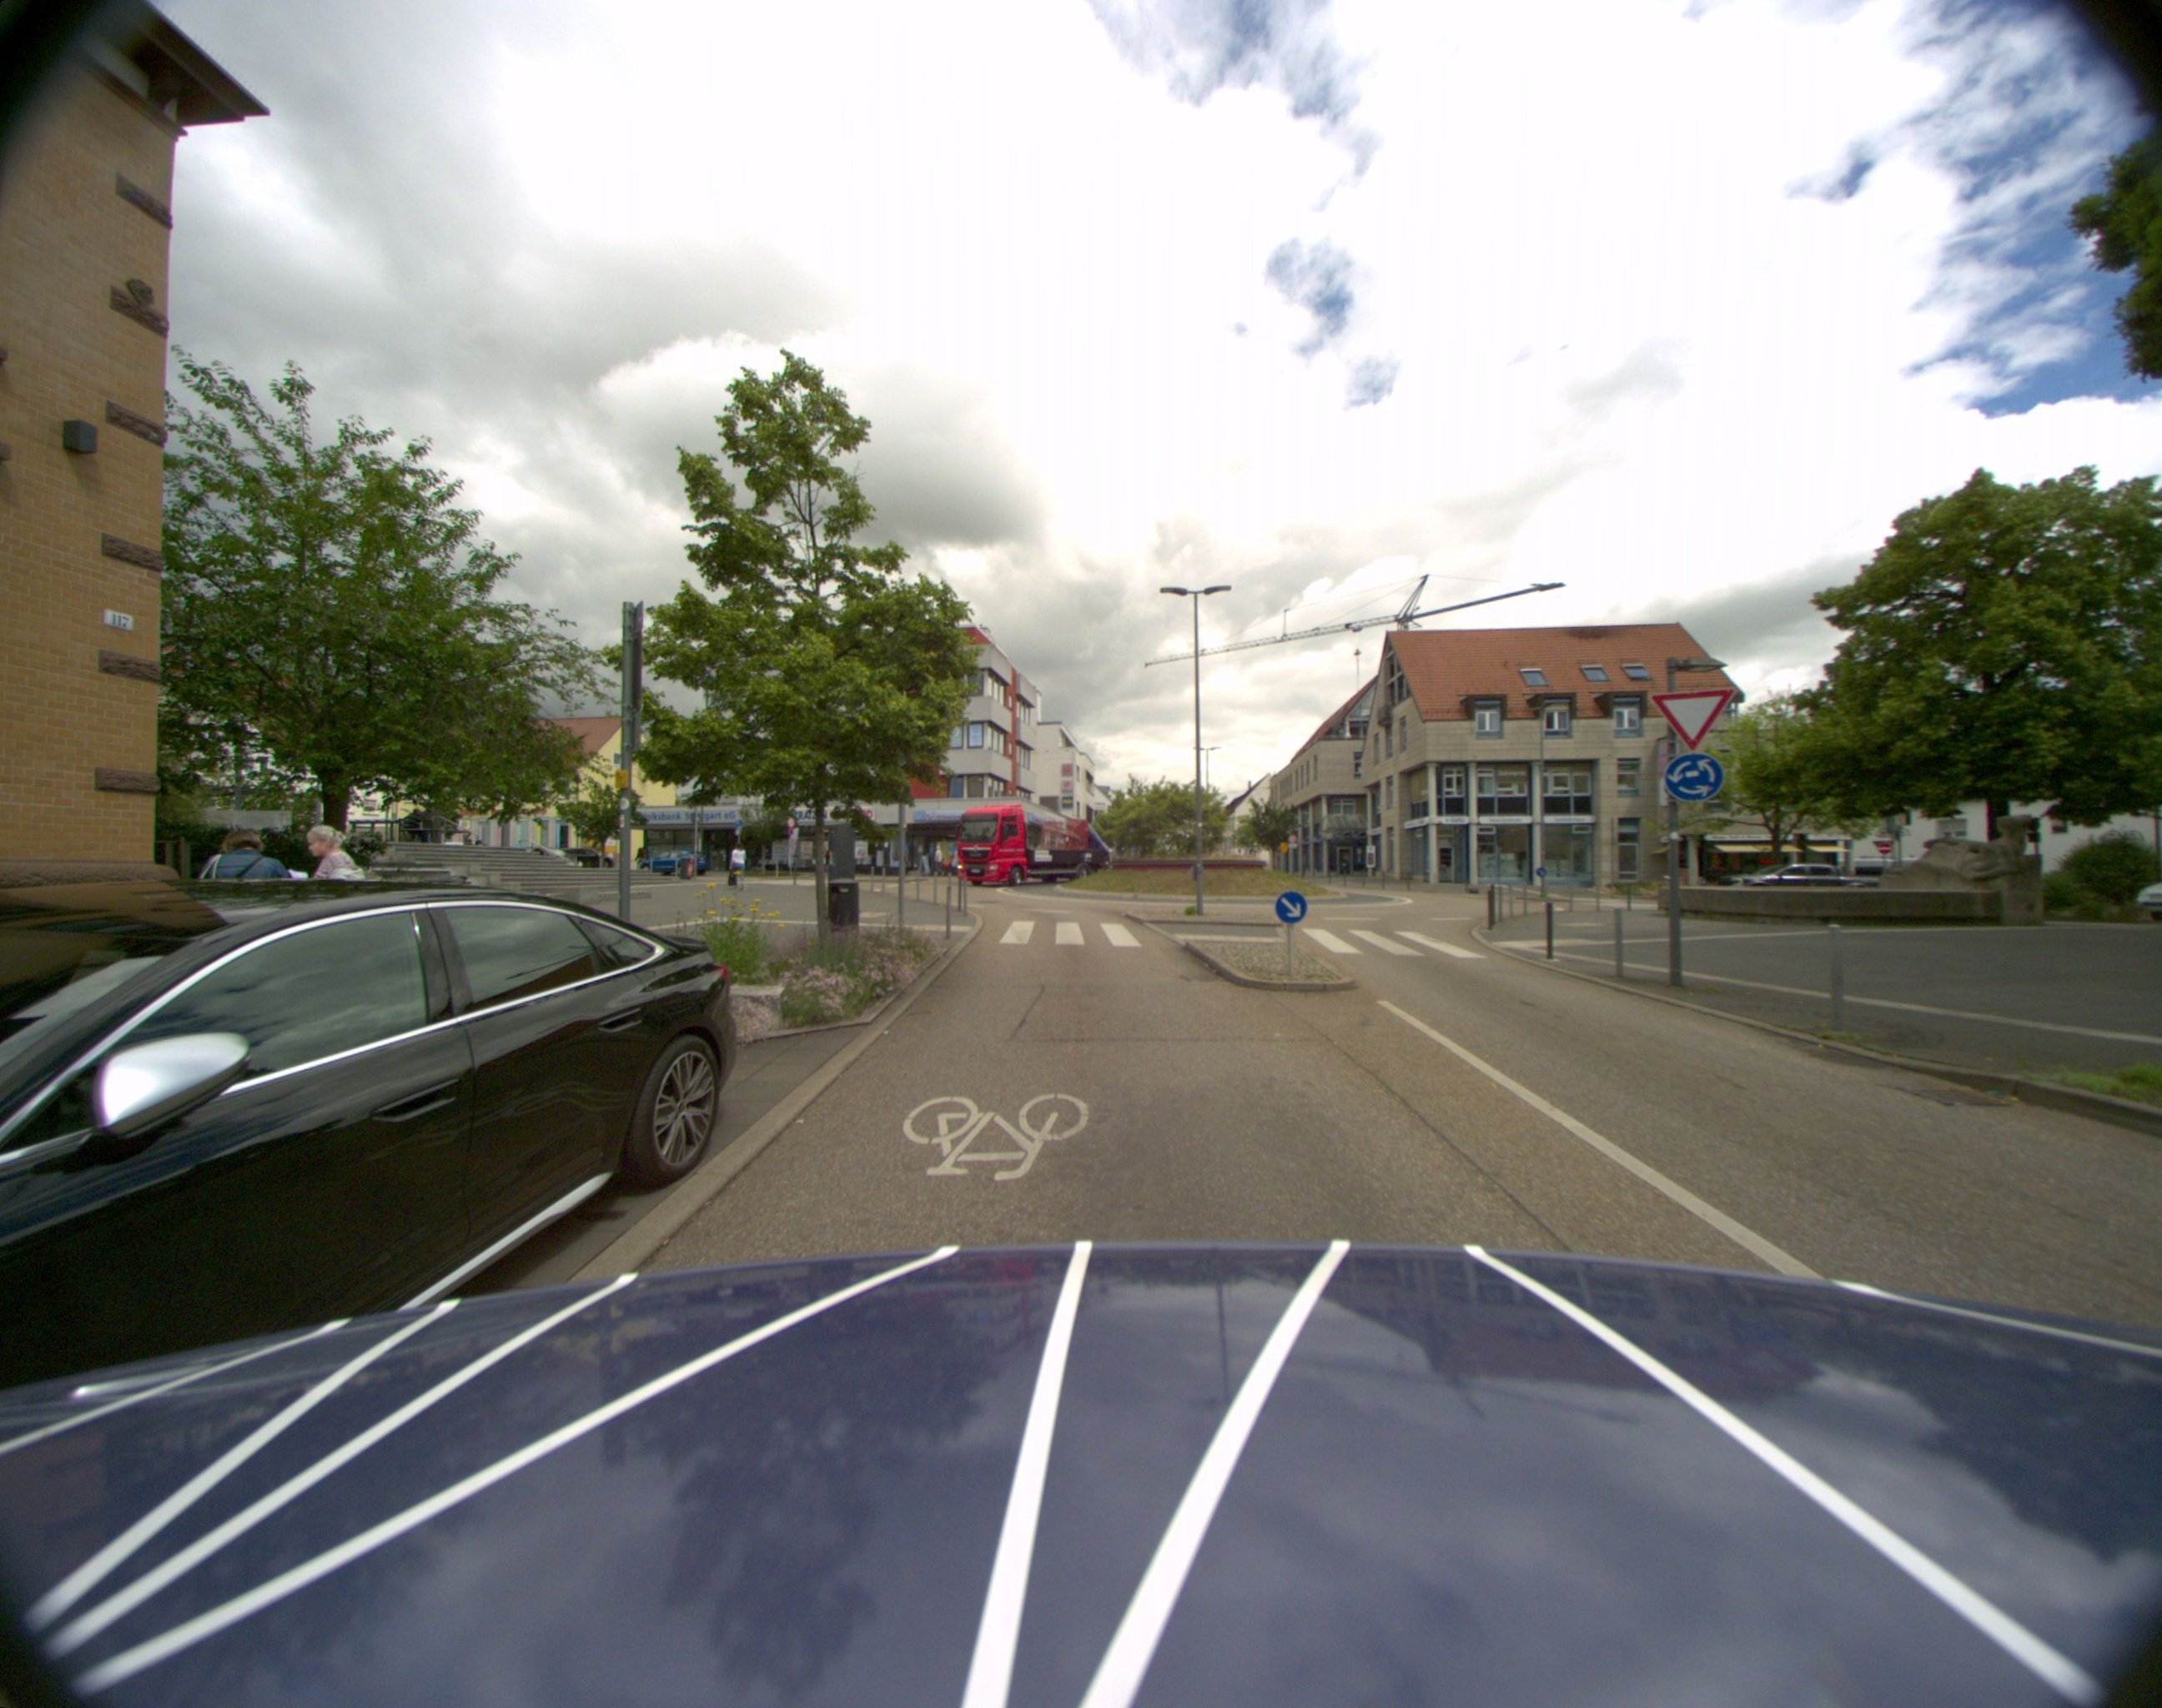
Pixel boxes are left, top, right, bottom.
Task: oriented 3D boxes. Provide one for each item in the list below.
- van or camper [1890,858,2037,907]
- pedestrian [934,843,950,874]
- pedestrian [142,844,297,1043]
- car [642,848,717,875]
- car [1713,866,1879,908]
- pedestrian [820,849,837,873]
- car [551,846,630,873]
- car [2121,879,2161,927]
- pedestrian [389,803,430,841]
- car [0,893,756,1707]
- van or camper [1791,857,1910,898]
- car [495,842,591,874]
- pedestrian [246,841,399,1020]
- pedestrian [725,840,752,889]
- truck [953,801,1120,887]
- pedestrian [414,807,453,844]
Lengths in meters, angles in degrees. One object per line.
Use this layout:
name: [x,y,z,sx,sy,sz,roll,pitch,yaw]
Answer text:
van or camper: [46.171,1.417,39.908,2.002,2.368,4.667,0,0,-23]
pedestrian: [-8.652,0.265,47.296,0.684,1.902,0.767,-1,1,10]
pedestrian: [-7.567,0.739,6.687,0.738,1.630,0.676,-1,1,26]
car: [-25.126,0.462,47.559,3.825,1.554,1.820,-1,1,11]
car: [30.110,1.392,32.179,4.883,1.644,1.748,-1,1,14]
pedestrian: [-16.550,0.468,49.829,0.684,1.574,0.767,-1,1,10]
car: [-37.460,0.423,58.238,2.409,2.002,5.034,0,0,7]
car: [38.186,1.619,25.359,4.070,1.530,1.747,-1,1,9]
pedestrian: [-23.713,-1.123,26.831,0.694,1.318,0.764,-1,1,6]
car: [-2.931,0.931,2.025,1.998,1.405,4.736,0,0,1]
van or camper: [46.620,1.364,46.172,2.002,2.368,4.667,0,0,-23]
car: [-29.898,0.244,42.283,3.995,1.641,2.001,-2,0,7]
pedestrian: [-7.396,0.708,7.441,0.697,1.649,0.741,-1,1,12]
pedestrian: [-12.356,0.377,27.422,0.768,1.721,0.751,-2,2,-31]
truck: [-1.858,-0.556,38.932,2.675,3.821,10.868,-1,1,32]
pedestrian: [-23.710,-1.049,27.822,0.694,1.318,0.764,-1,1,6]
